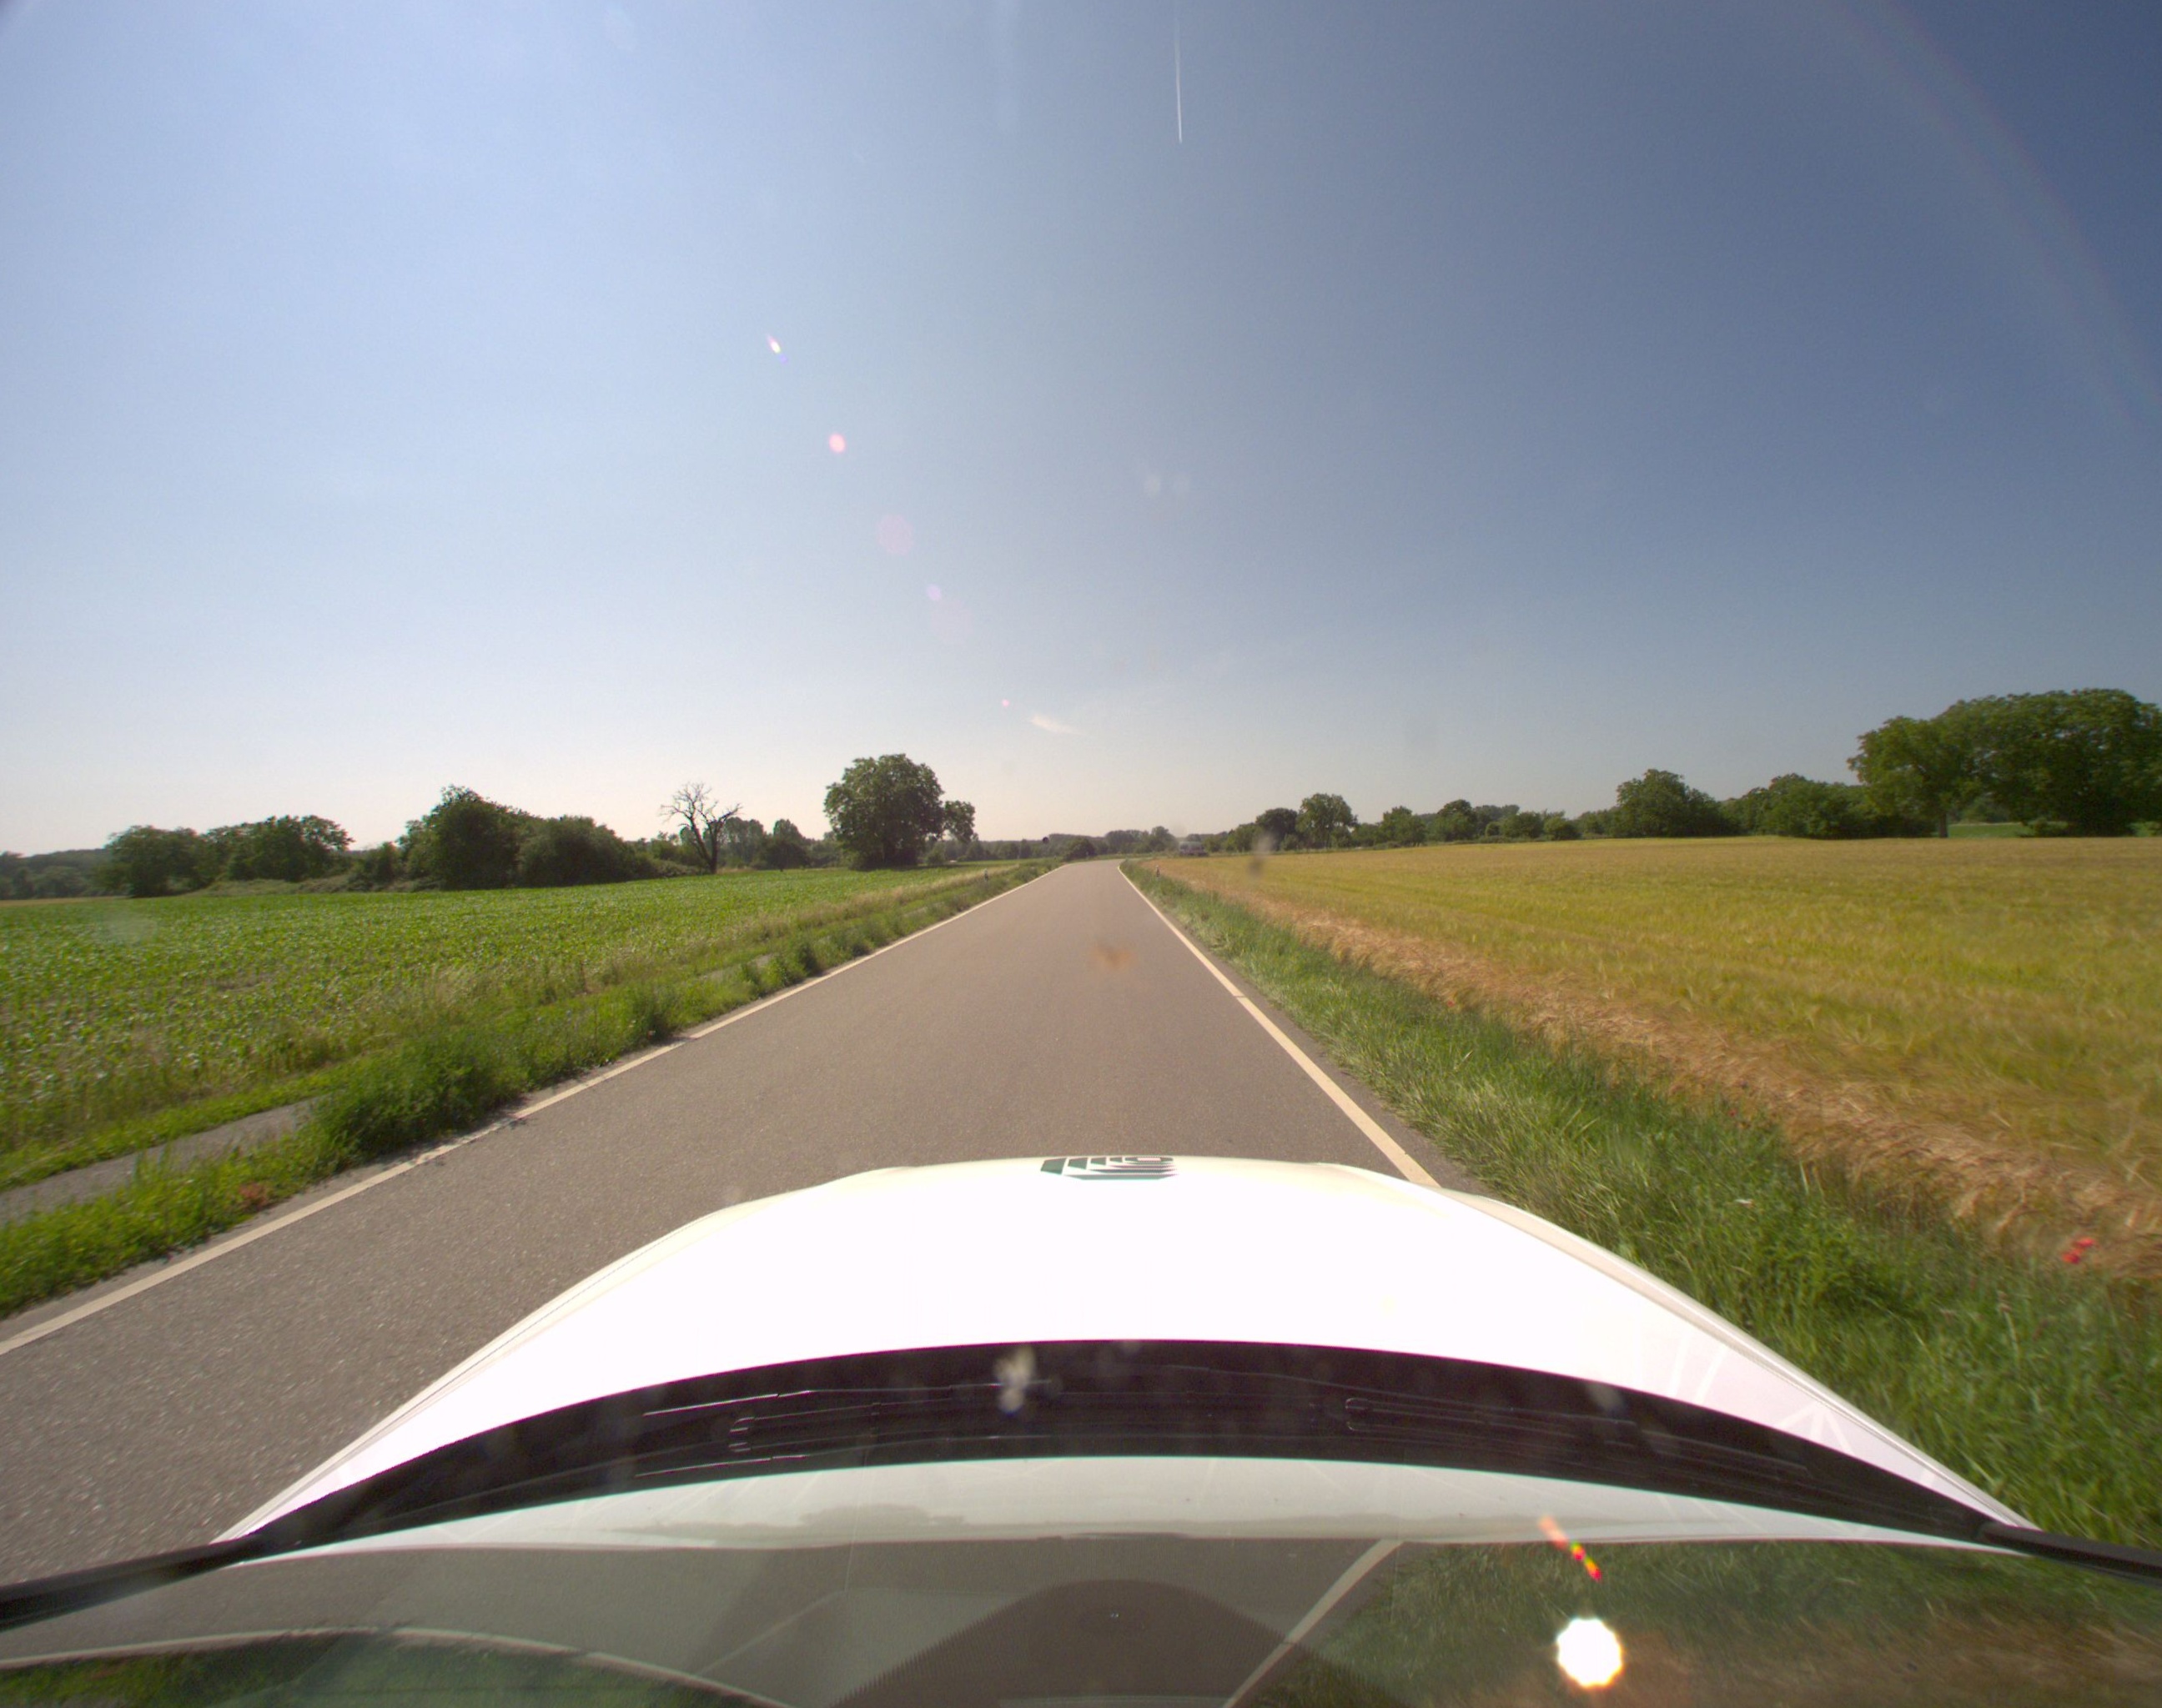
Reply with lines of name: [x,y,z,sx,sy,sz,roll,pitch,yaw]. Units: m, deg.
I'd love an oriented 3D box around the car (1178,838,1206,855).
car: [17.474,-1.206,128.088,2.083,2.367,5.724,-3,0,34]
